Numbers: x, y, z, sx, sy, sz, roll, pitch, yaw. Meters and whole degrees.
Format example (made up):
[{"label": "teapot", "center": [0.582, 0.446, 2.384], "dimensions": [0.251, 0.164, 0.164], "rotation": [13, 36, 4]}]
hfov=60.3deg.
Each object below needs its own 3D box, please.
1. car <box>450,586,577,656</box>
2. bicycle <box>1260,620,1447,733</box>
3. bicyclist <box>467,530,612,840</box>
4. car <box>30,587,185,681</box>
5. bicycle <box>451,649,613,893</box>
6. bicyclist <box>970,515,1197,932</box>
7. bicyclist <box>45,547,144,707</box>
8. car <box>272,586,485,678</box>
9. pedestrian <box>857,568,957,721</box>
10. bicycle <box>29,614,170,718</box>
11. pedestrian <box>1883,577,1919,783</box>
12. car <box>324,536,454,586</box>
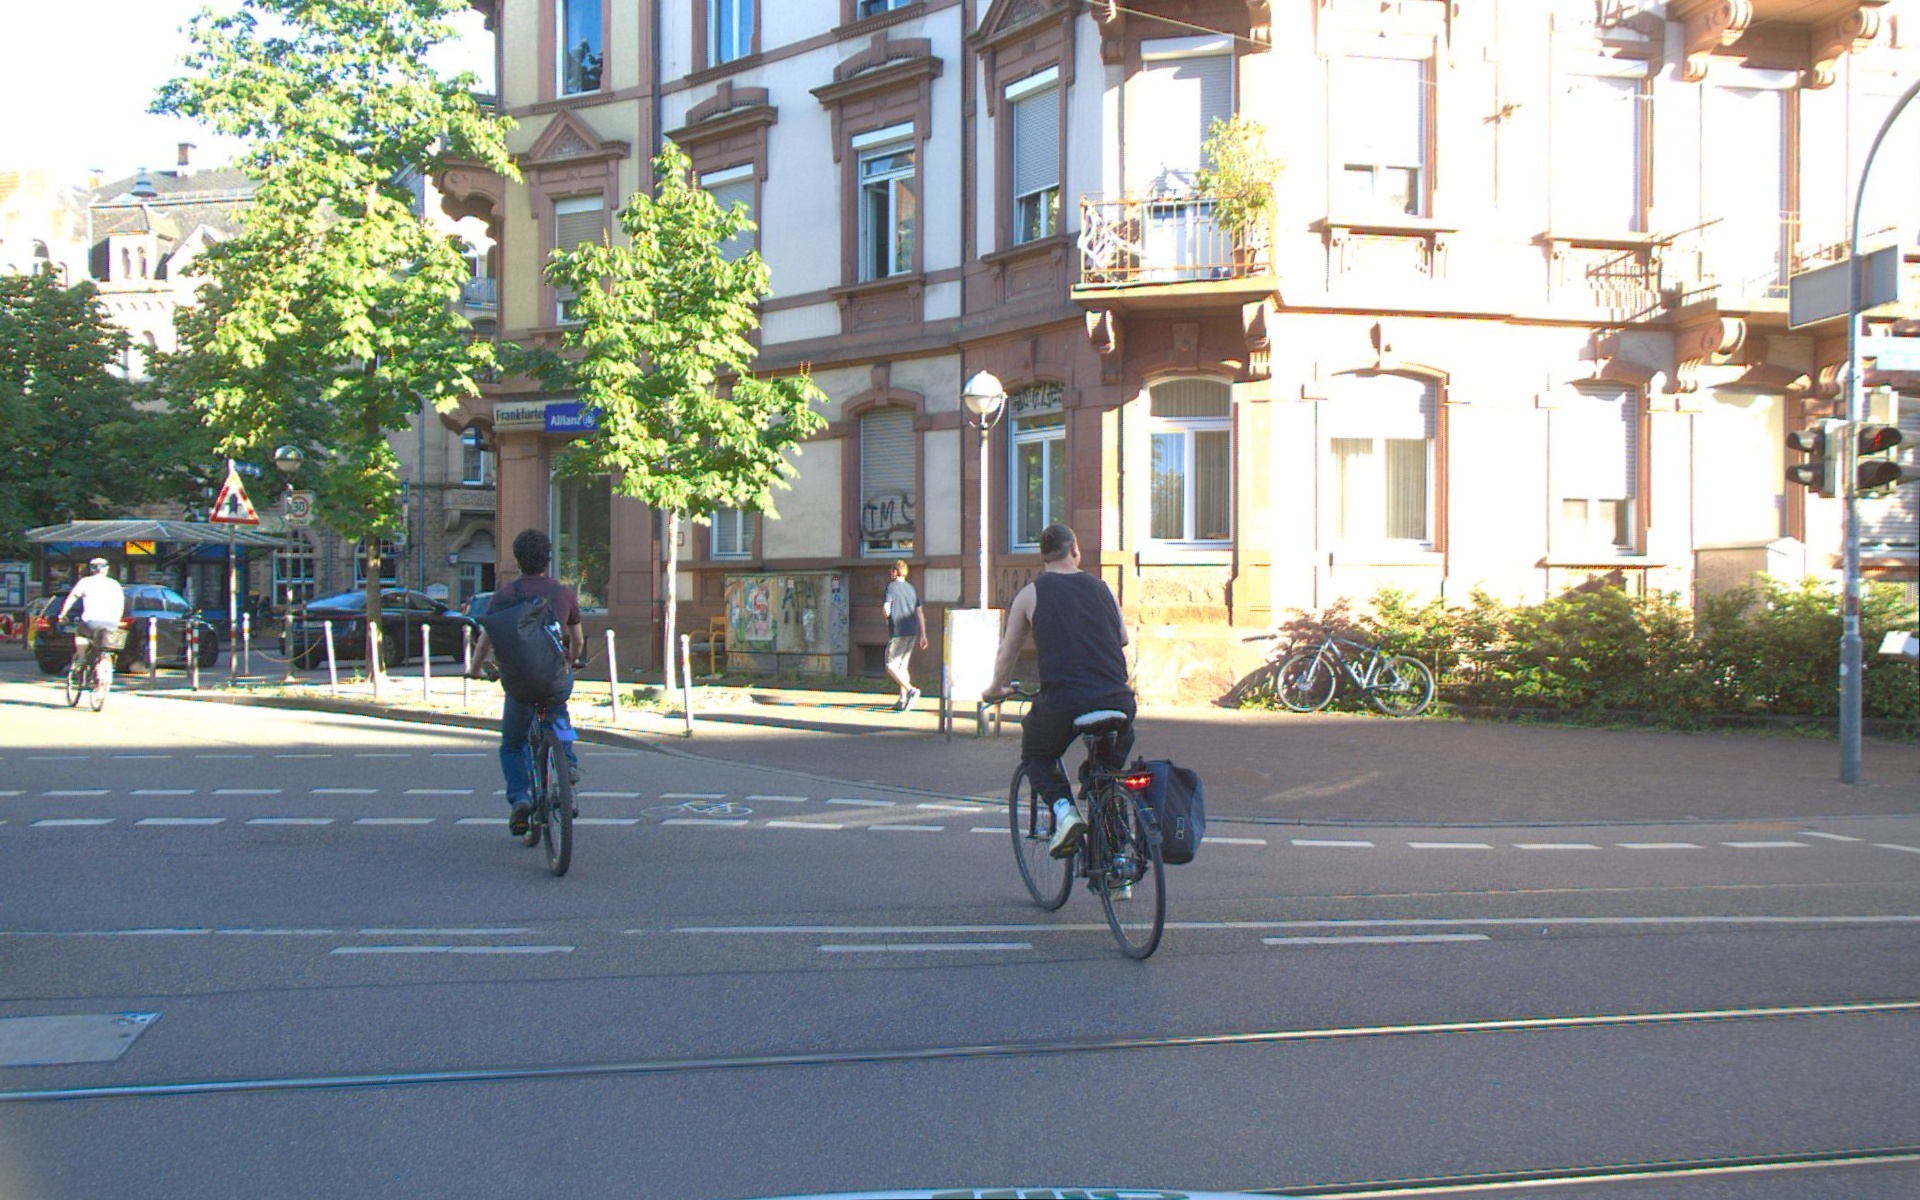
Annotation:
[{"label": "car", "center": [-9.988, 0.445, 37.183], "dimensions": [1.468, 1.483, 3.210], "rotation": [1, 0, 11]}, {"label": "bicycle", "center": [4.322, 0.821, 18.200], "dimensions": [1.921, 1.126, 0.443], "rotation": [2, 1, 24]}, {"label": "bicyclist", "center": [-2.286, 0.440, 9.086], "dimensions": [0.694, 1.601, 0.954], "rotation": [1, 0, -11]}, {"label": "car", "center": [-15.333, 0.585, 29.927], "dimensions": [1.761, 1.569, 3.842], "rotation": [1, 0, -17]}, {"label": "bicycle", "center": [-2.319, 0.872, 9.153], "dimensions": [0.704, 1.126, 1.962], "rotation": [1, 0, -10]}, {"label": "bicyclist", "center": [0.516, 0.508, 7.274], "dimensions": [0.675, 1.685, 0.984], "rotation": [0, -1, -18]}, {"label": "bicyclist", "center": [-10.868, 0.326, 20.767], "dimensions": [0.927, 1.947, 0.793], "rotation": [1, 0, 40]}, {"label": "car", "center": [-11.194, 0.570, 32.190], "dimensions": [1.753, 1.639, 4.372], "rotation": [1, 0, 14]}, {"label": "pedestrian", "center": [-0.607, 0.487, 18.825], "dimensions": [0.719, 1.663, 0.891], "rotation": [0, 2, -42]}, {"label": "bicycle", "center": [-10.774, 0.791, 20.677], "dimensions": [2.186, 1.205, 0.808], "rotation": [1, 0, 41]}, {"label": "pedestrian", "center": [8.489, 0.666, 14.058], "dimensions": [0.876, 1.693, 0.713], "rotation": [1, 3, 7]}, {"label": "car", "center": [-20.021, -1.372, 58.025], "dimensions": [3.902, 1.676, 1.880], "rotation": [1, 0, 13]}]
